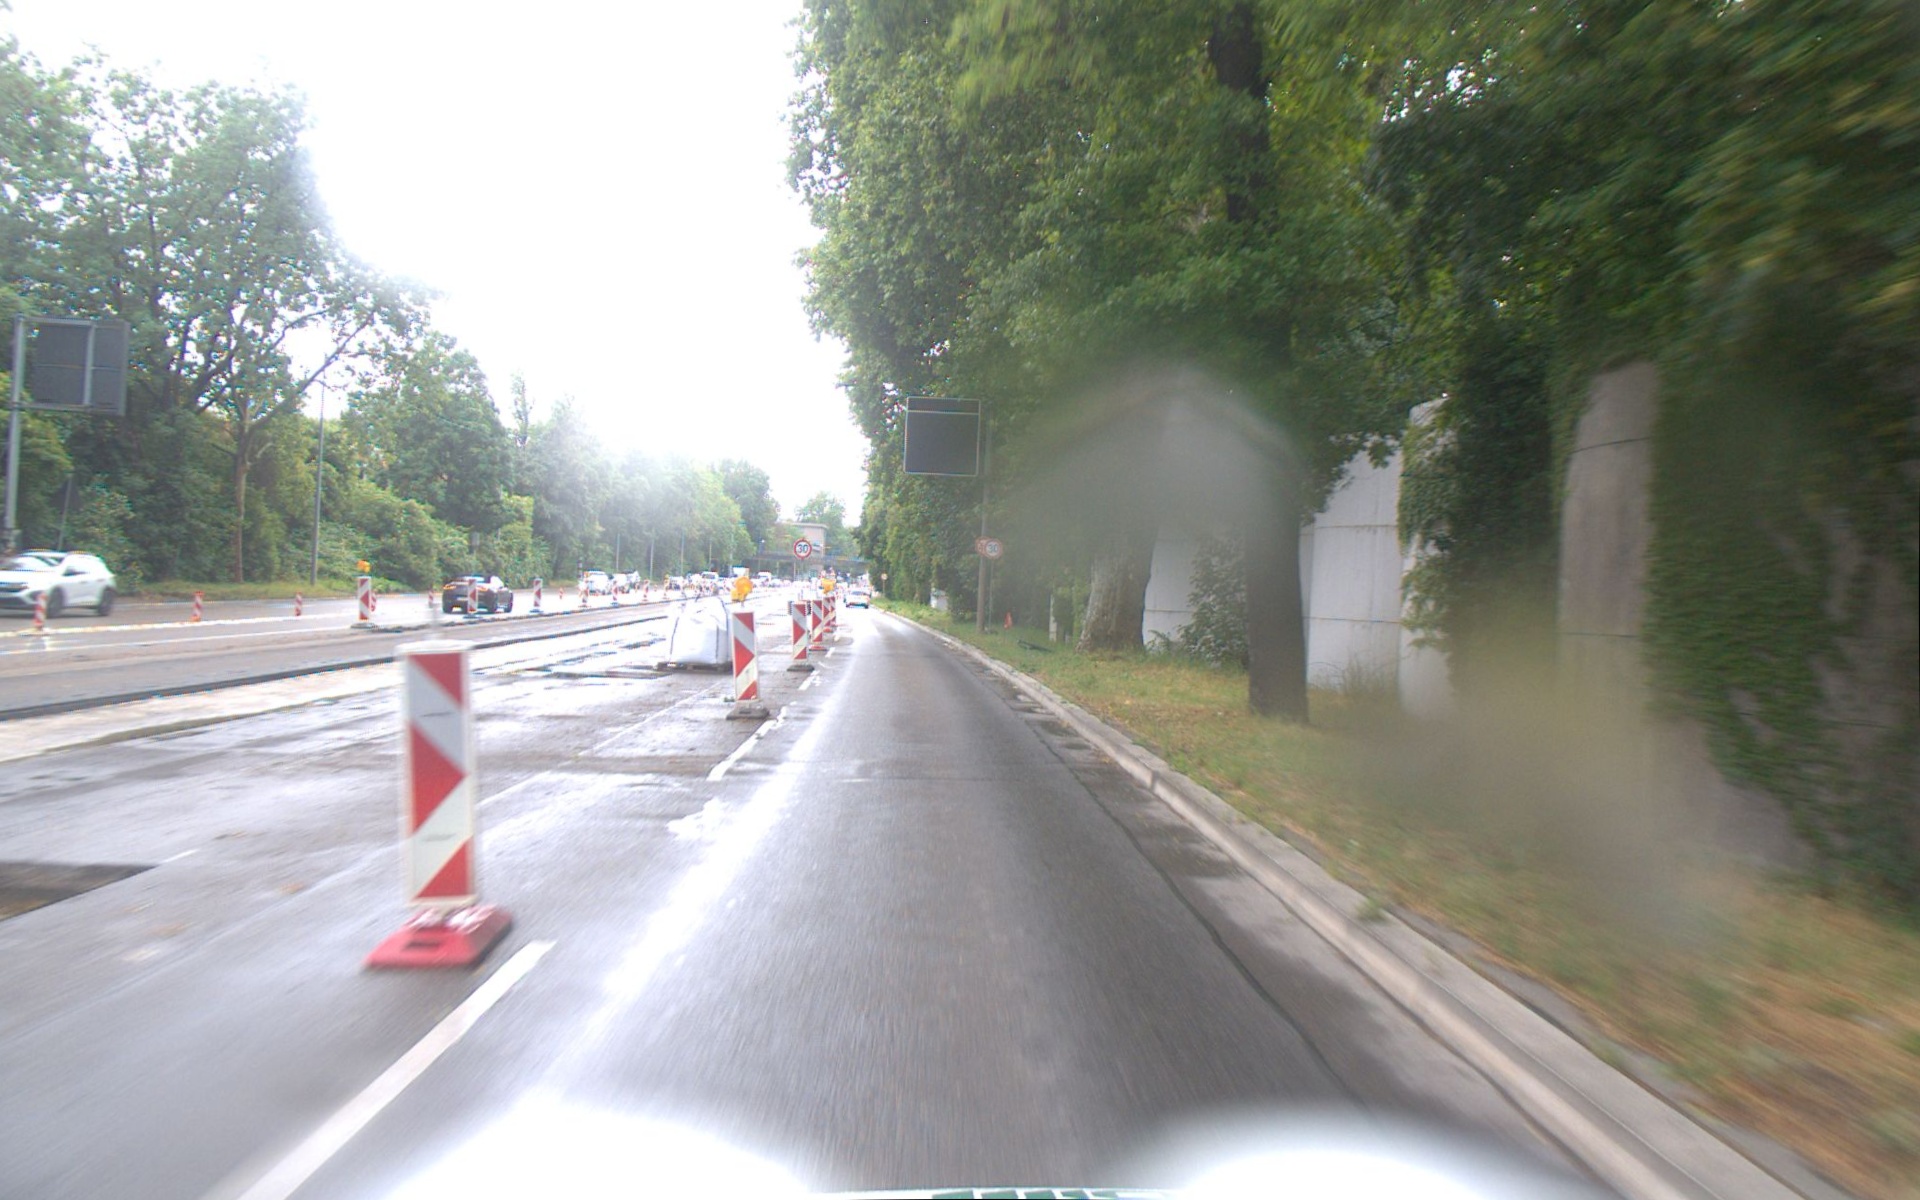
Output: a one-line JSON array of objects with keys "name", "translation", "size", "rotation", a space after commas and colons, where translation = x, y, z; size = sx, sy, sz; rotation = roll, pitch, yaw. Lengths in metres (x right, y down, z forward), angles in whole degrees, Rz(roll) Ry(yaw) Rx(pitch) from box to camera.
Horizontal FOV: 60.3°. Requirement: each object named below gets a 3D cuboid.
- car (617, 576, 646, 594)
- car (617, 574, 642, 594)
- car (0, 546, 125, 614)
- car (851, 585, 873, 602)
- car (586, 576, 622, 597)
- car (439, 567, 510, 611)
[{"name": "car", "translation": [-26.309, -1.224, 132.514], "size": [1.782, 1.379, 4.201], "rotation": [1, 1, -4]}, {"name": "car", "translation": [-30.380, -1.514, 152.281], "size": [1.621, 1.714, 4.529], "rotation": [3, 0, -4]}, {"name": "car", "translation": [-22.020, -0.469, 40.033], "size": [1.633, 1.568, 4.156], "rotation": [0, 0, -2]}, {"name": "car", "translation": [-7.966, -0.520, 133.847], "size": [1.664, 1.359, 3.487], "rotation": [1, 0, -5]}, {"name": "car", "translation": [-23.990, -0.924, 111.543], "size": [1.782, 1.379, 4.386], "rotation": [1, 1, -4]}, {"name": "car", "translation": [-17.456, -0.412, 59.562], "size": [1.576, 1.428, 4.037], "rotation": [3, 0, -4]}]
